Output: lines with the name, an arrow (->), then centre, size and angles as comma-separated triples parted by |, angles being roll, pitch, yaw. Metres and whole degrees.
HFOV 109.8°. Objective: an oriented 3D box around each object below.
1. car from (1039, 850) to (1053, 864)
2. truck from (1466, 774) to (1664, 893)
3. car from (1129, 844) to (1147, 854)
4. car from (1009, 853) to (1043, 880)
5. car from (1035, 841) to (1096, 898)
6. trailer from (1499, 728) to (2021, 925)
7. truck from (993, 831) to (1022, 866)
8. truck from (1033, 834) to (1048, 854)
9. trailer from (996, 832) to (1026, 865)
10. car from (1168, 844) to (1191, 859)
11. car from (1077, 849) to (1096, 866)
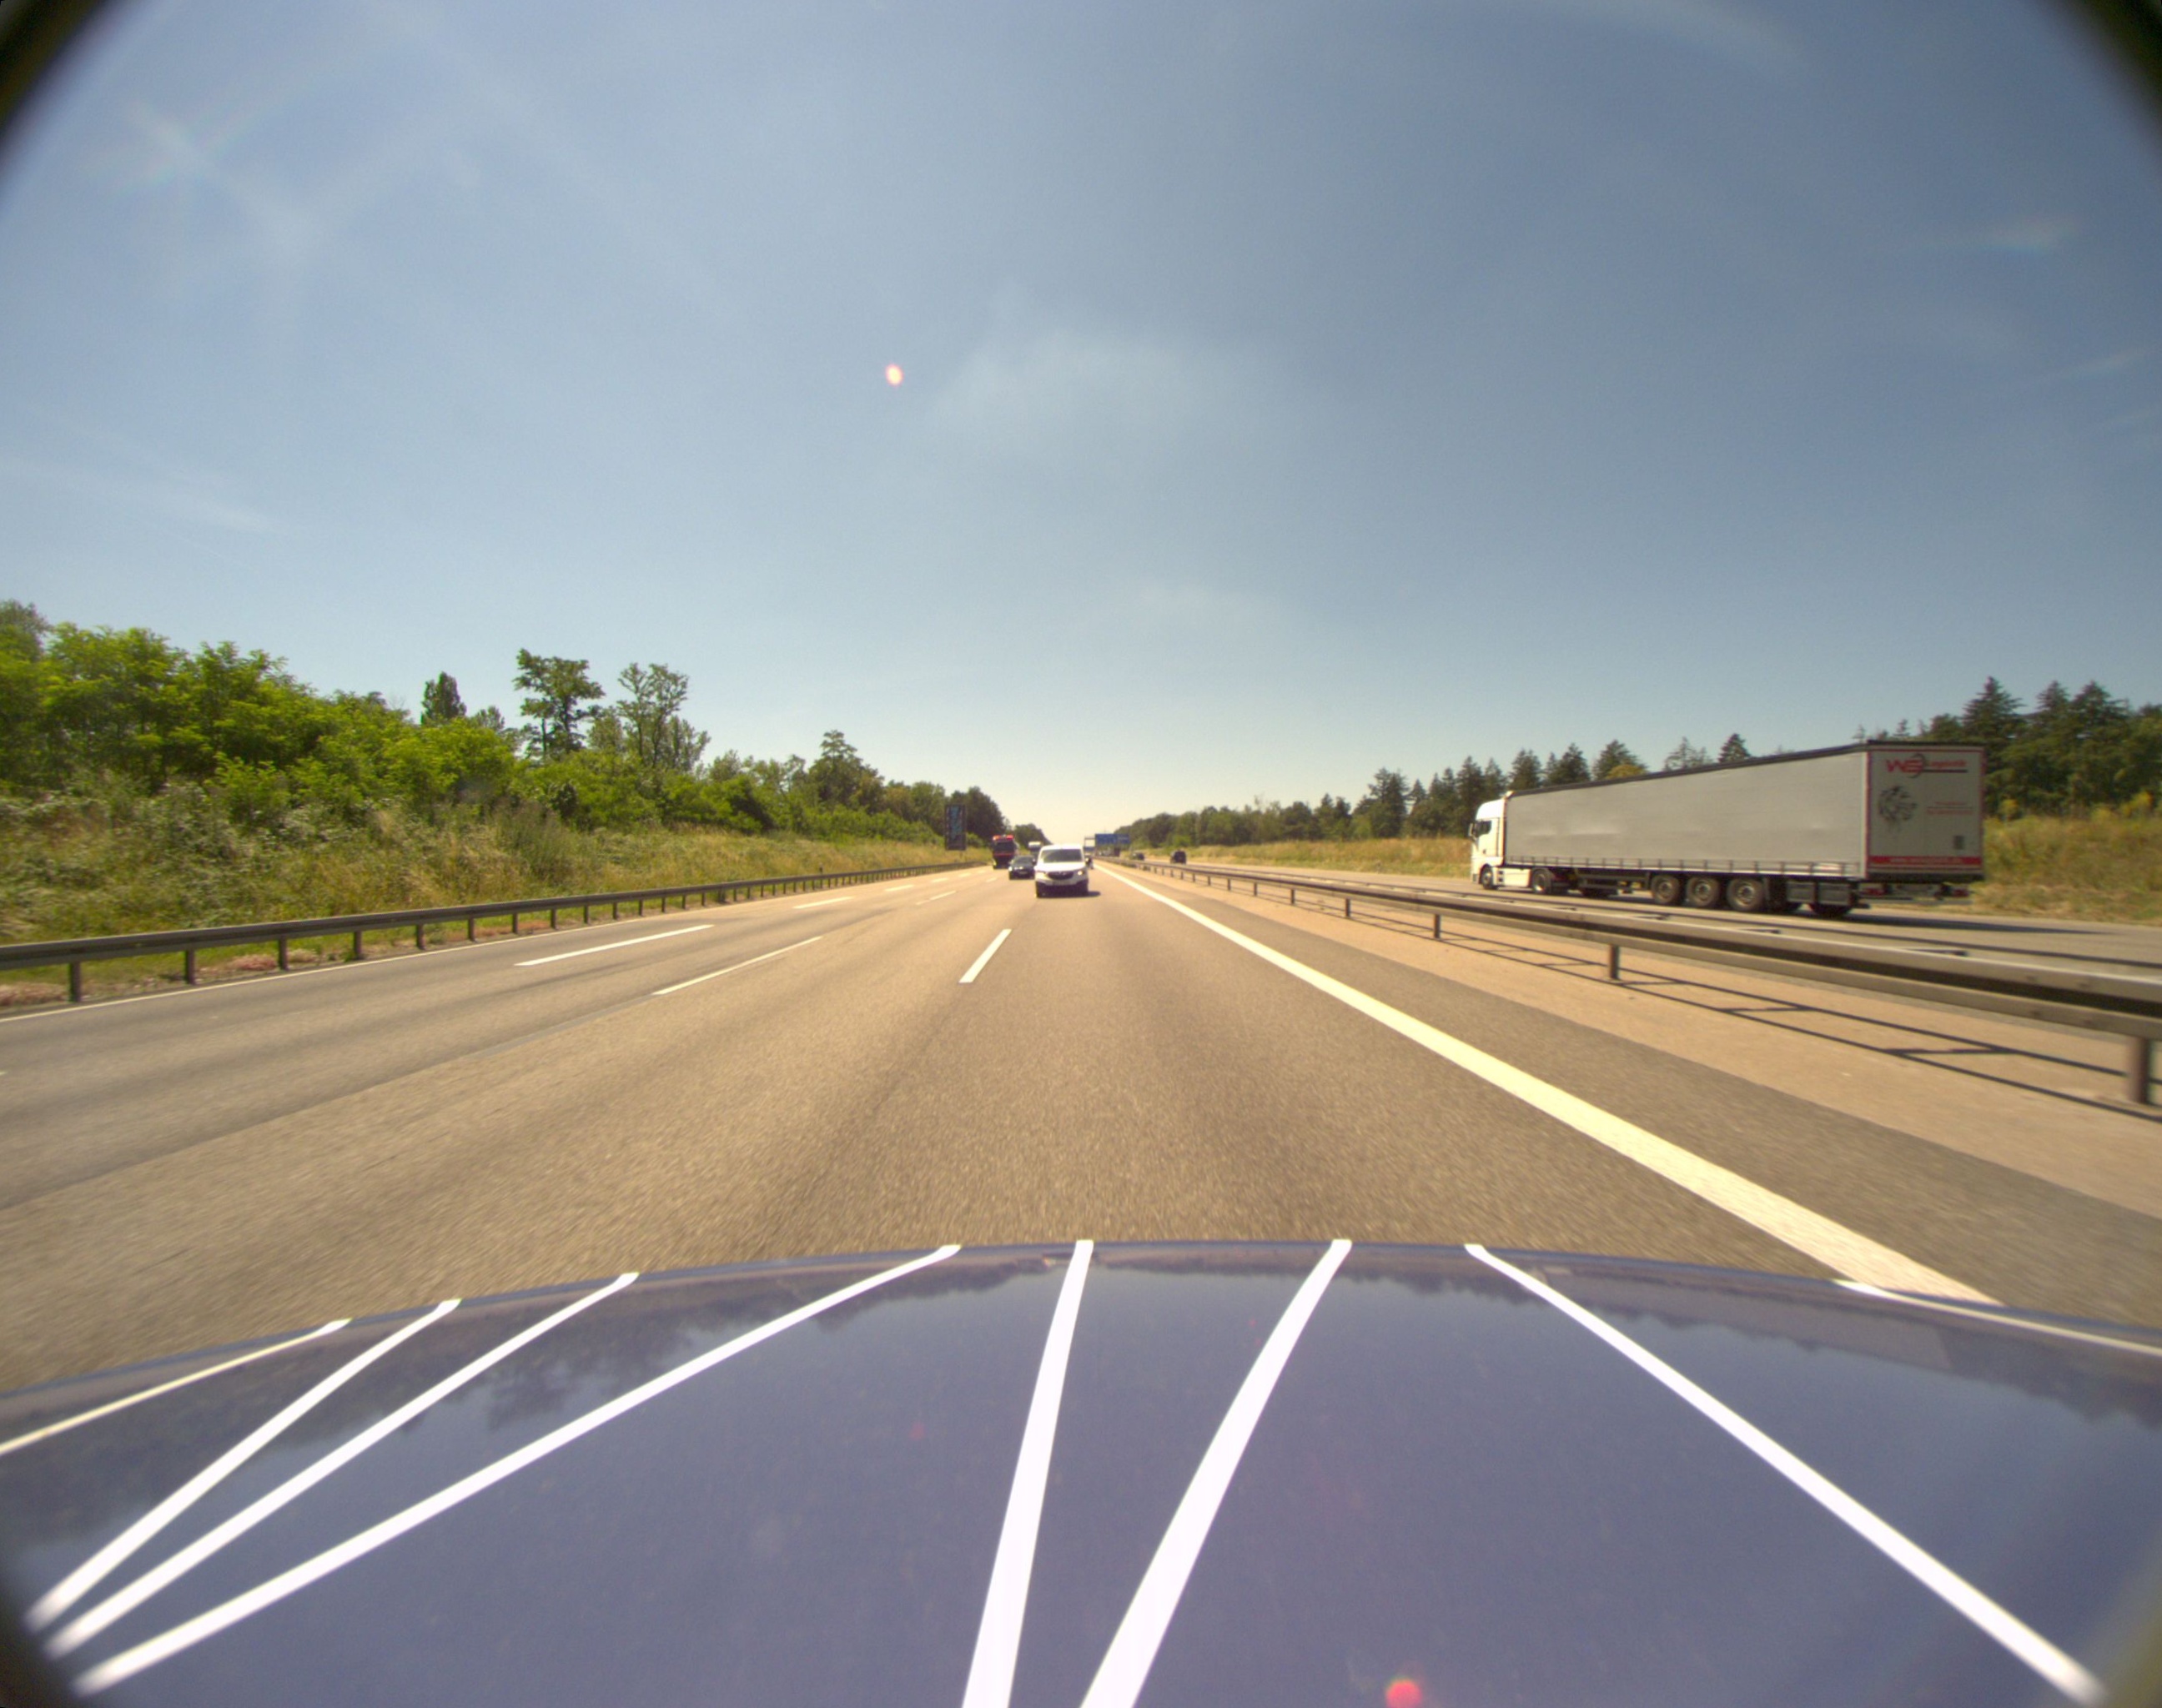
car -> -5.512, 0.426, 119.428 | 1.999, 2.002, 3.999 | -2, 1, -1
truck -> 18.112, -0.714, 29.135 | 2.957, 3.937, 6.951 | 1, 1, -1
car -> 8.746, -0.819, 116.585 | 2.233, 1.416, 5.298 | 1, 1, -1
car -> -3.377, 0.743, 47.501 | 1.806, 1.475, 4.271 | -2, 1, -1
car -> -0.464, 0.476, 27.642 | 1.870, 1.807, 4.941 | -2, 1, 2
trailer -> 18.196, -0.648, 23.065 | 2.957, 4.084, 14.099 | 1, 1, -1
truck -> -8.288, -0.600, 86.022 | 2.535, 3.712, 6.097 | -2, 1, -1
truck -> -8.351, -2.026, 155.975 | 2.604, 3.980, 6.172 | -2, 1, -1
trailer -> -8.352, -0.666, 92.052 | 2.535, 3.712, 11.546 | -2, 1, -1
car -> 13.077, -0.361, 100.882 | 2.233, 1.801, 5.298 | 1, 1, -1
car -> 0.477, 0.312, 69.338 | 1.582, 1.412, 3.352 | -2, 1, -1
